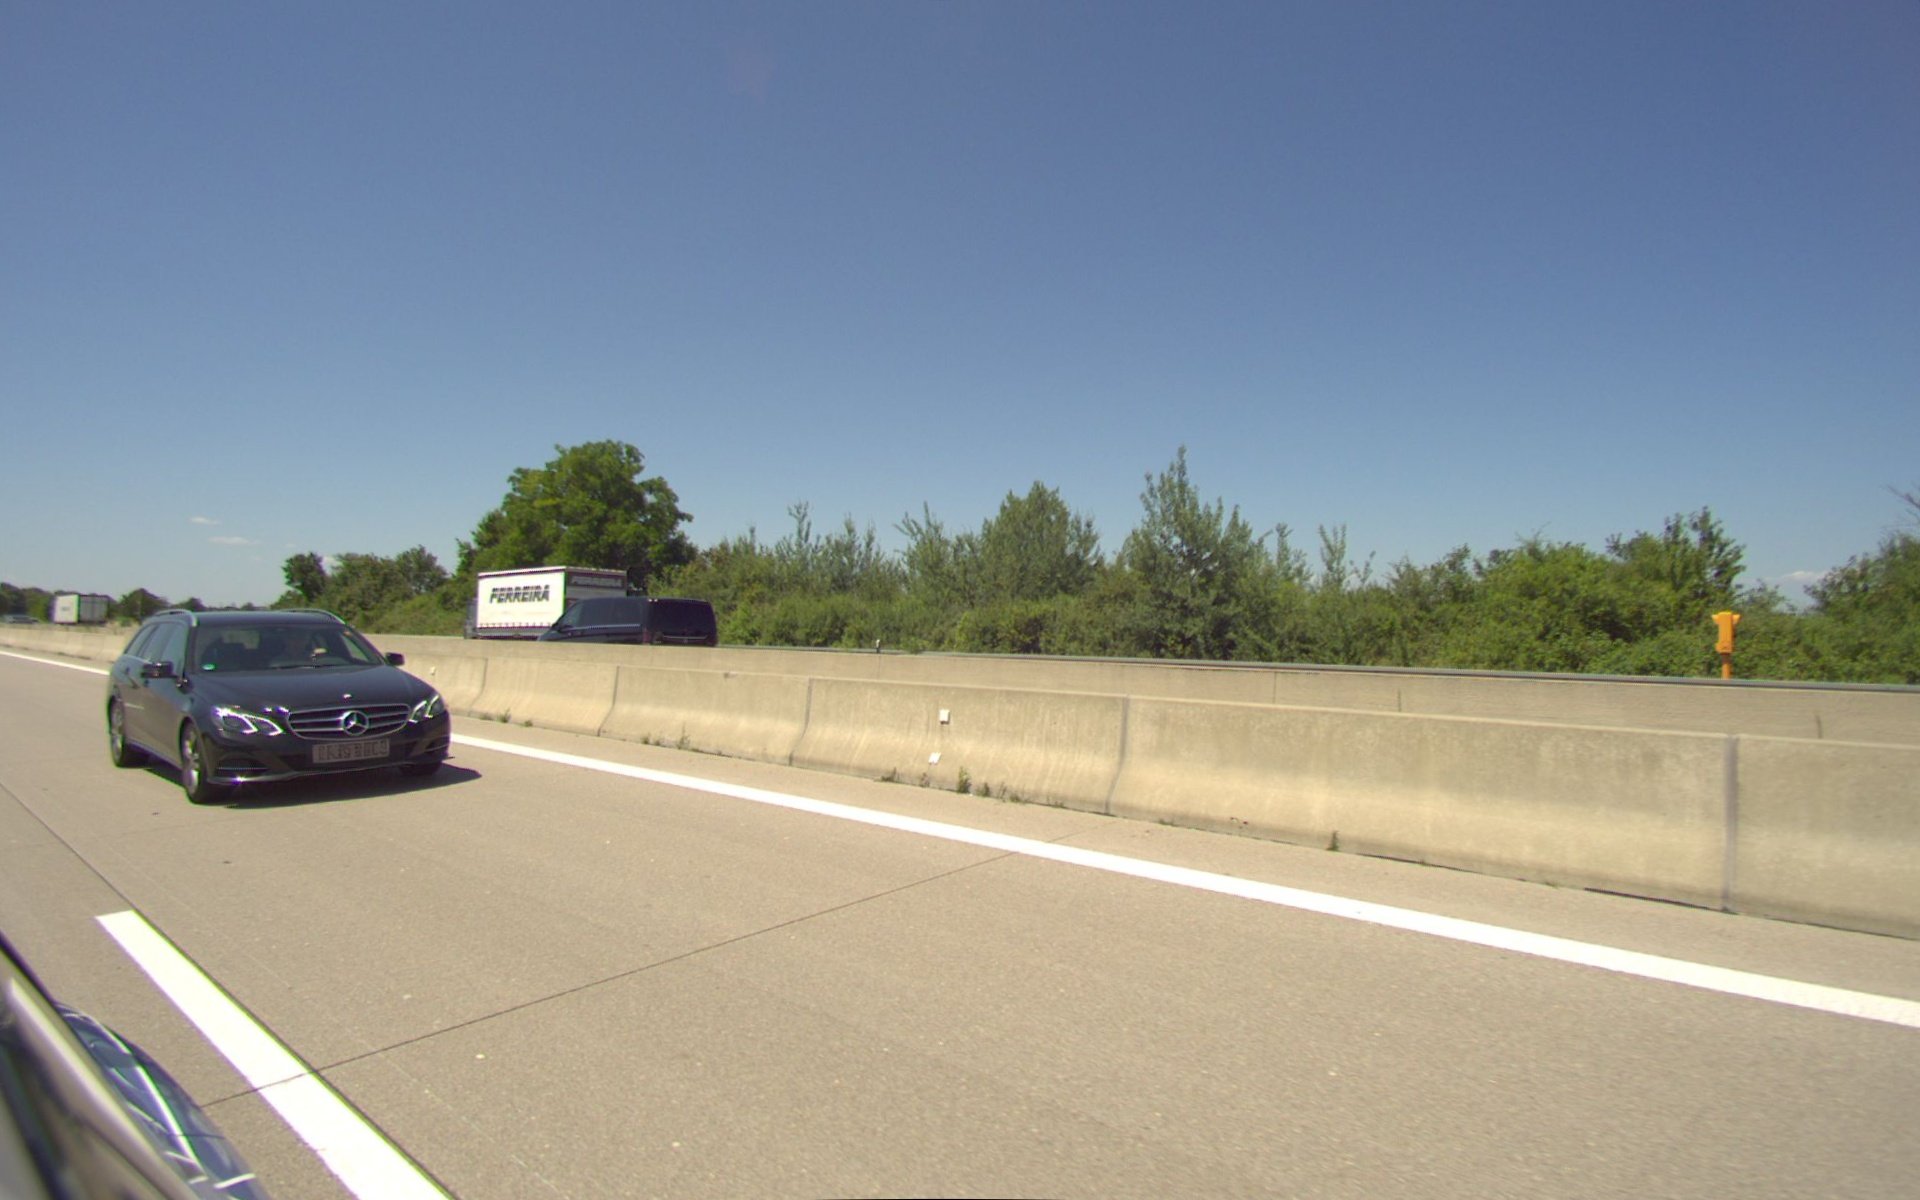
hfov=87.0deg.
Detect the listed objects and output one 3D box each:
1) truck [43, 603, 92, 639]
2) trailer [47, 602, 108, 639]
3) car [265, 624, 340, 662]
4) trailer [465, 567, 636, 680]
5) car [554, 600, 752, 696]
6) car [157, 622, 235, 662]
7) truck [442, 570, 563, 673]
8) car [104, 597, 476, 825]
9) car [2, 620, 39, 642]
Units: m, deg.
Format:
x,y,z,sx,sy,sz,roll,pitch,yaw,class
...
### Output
x,y,z,sx,sy,sz,roll,pitch,yaw,class
-102.484,2.381,116.147,8.367,3.938,3.128,-1,-1,41,truck
-98.025,2.306,112.275,14.022,3.867,3.128,-1,-1,41,trailer
-32.642,2.100,50.189,4.713,1.771,1.972,-1,-1,42,car
-16.682,0.915,40.835,8.480,4.136,2.922,-2,-1,42,trailer
-6.569,0.947,21.391,4.465,1.809,1.972,-1,-1,42,car
-36.232,1.948,47.953,5.155,1.771,1.972,-1,-1,42,car
-19.686,0.895,43.455,5.083,4.159,2.922,-2,-1,42,truck
-6.153,0.817,9.126,3.938,1.597,1.824,-1,-1,41,car
-82.468,2.731,88.784,4.394,1.807,1.909,-1,-1,41,car
